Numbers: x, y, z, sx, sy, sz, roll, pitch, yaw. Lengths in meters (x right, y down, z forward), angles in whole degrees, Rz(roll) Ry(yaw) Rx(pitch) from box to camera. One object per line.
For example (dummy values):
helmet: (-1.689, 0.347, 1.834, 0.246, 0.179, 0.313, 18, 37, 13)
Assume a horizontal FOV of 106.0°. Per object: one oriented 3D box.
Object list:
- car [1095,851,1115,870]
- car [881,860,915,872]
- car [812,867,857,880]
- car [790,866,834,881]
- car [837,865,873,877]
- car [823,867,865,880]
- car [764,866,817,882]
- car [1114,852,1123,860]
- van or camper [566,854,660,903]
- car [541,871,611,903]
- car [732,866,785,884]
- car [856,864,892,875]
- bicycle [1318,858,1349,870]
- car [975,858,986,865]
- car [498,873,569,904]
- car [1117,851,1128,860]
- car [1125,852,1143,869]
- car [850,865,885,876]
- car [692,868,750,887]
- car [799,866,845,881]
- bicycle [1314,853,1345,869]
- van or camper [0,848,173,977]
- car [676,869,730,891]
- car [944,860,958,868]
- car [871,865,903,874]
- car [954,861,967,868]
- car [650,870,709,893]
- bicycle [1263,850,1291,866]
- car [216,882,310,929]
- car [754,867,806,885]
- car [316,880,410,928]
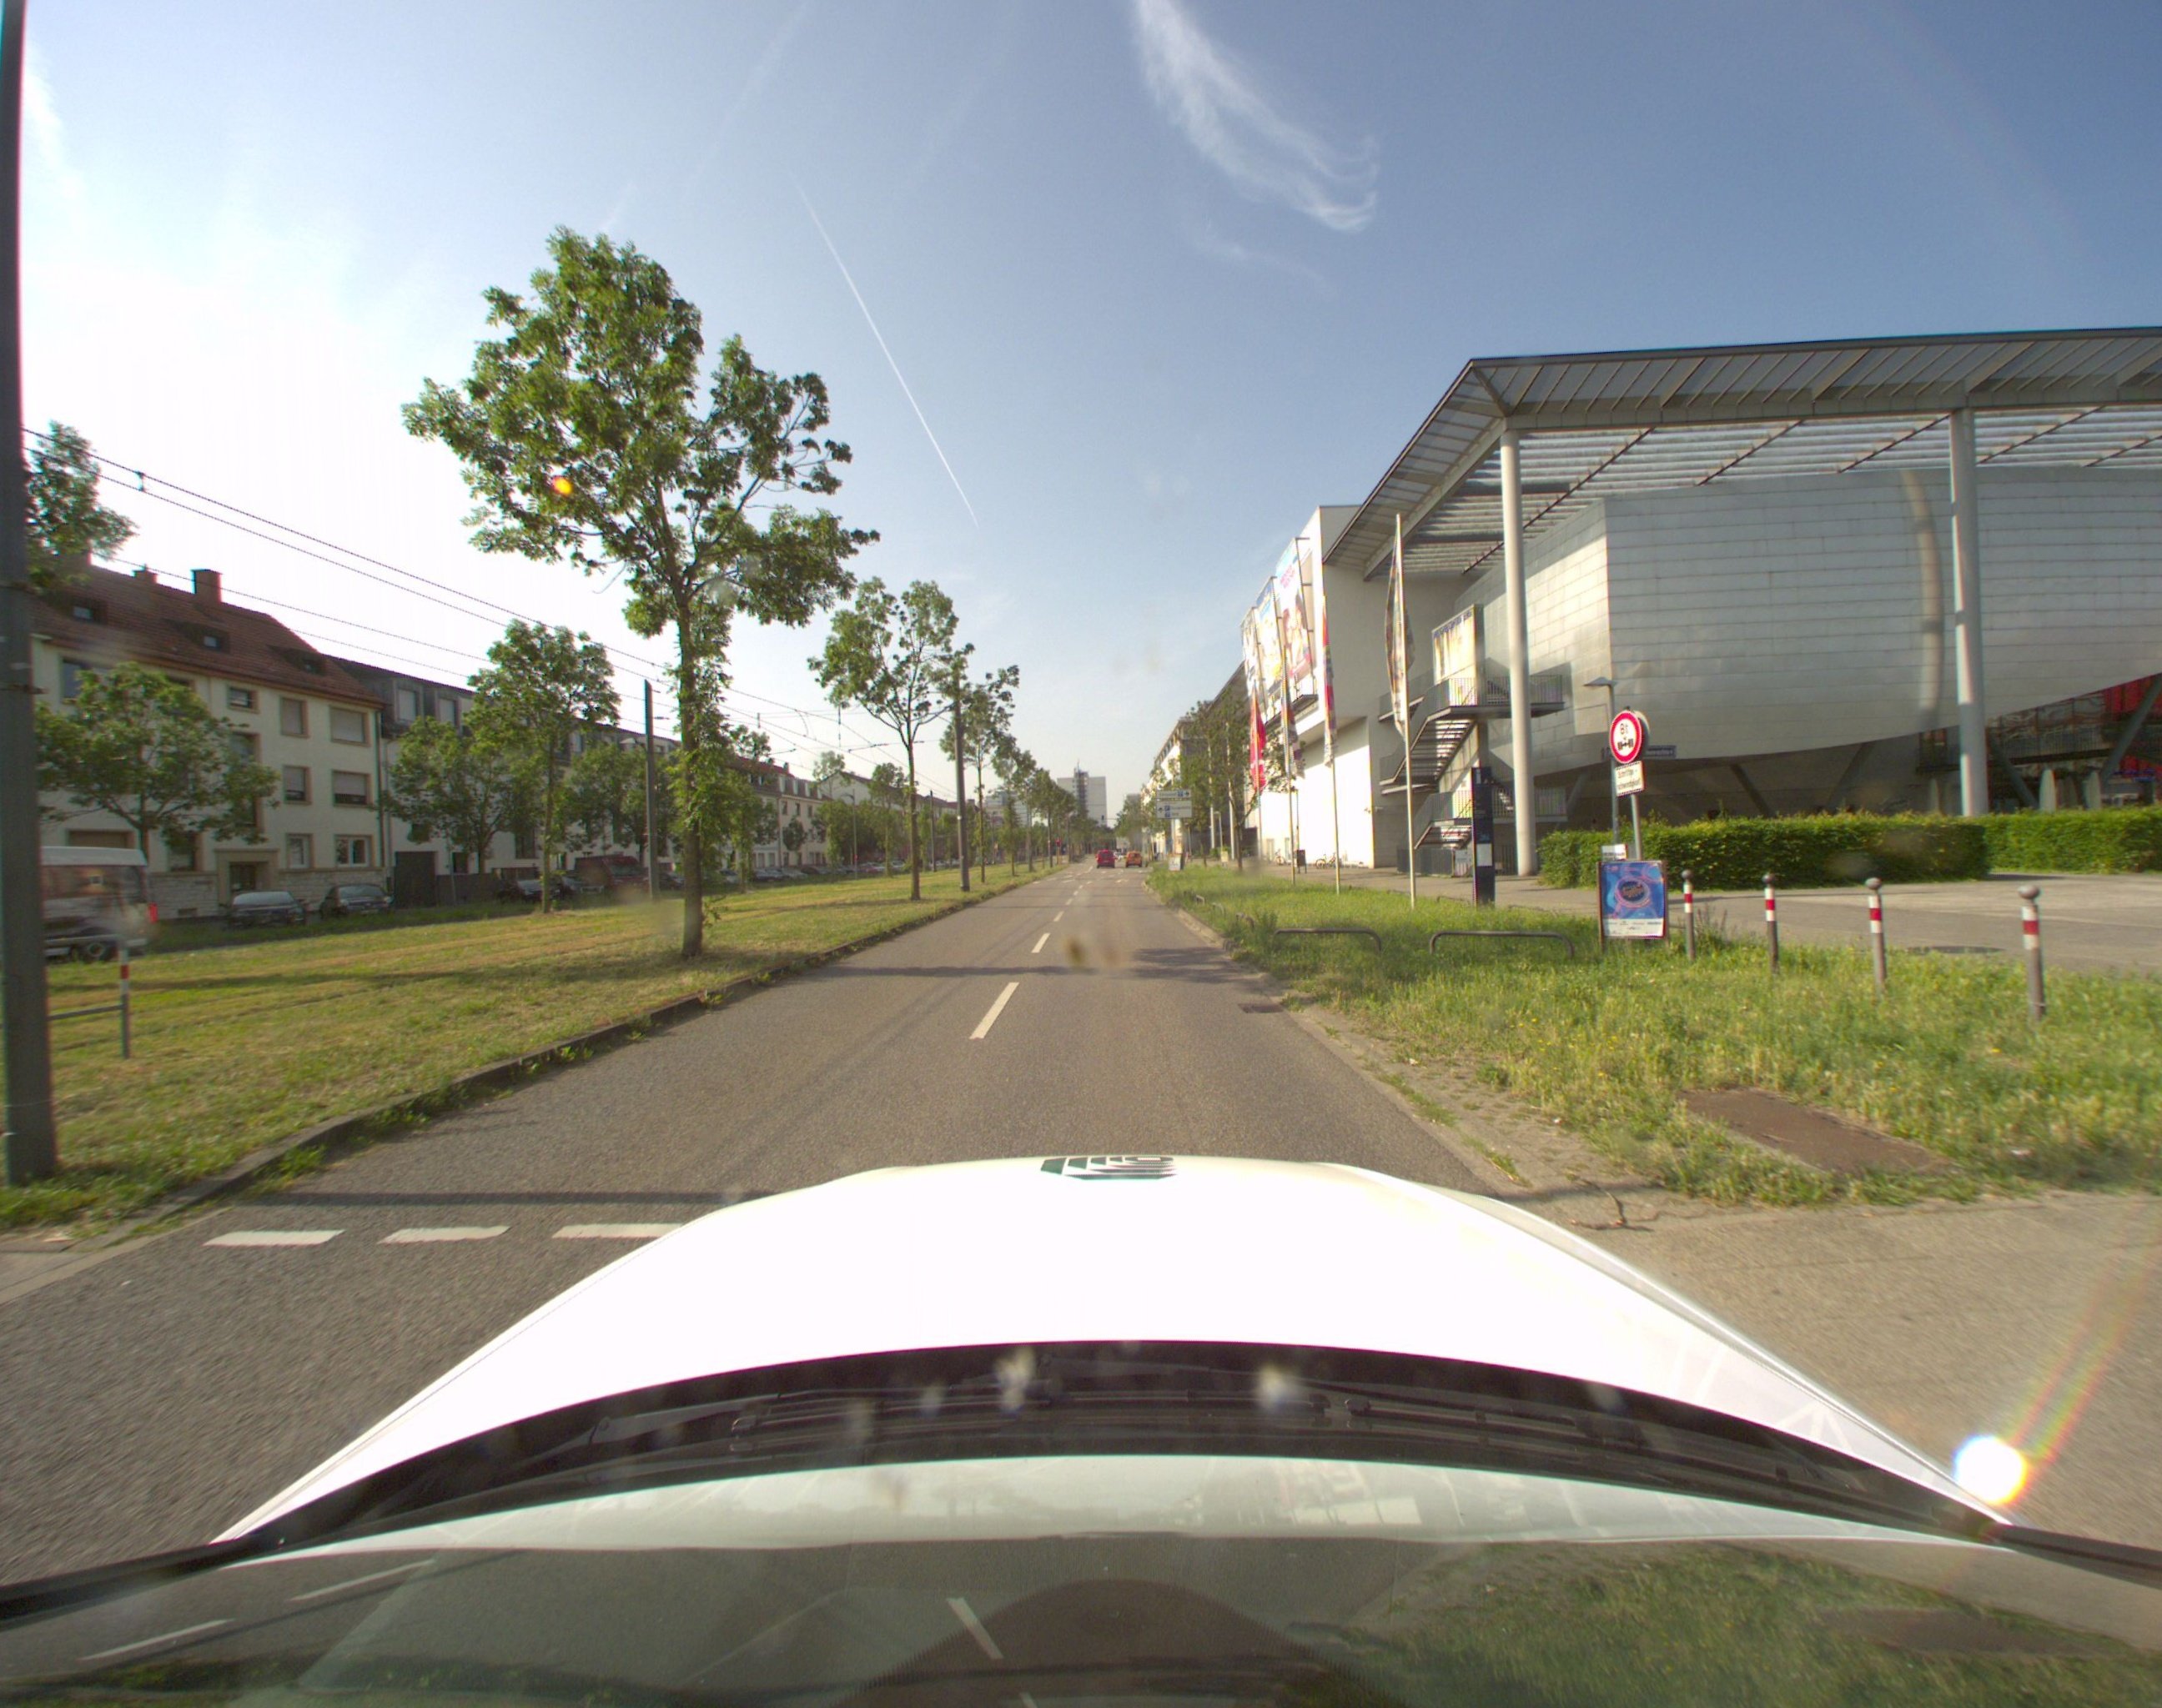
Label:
car: (2.500, 0.699, 85.615, 1.868, 1.853, 3.999, -2, 0, 0)
car: (-24.068, 1.599, 107.131, 4.407, 1.514, 2.013, -2, 0, 37)
car: (-24.788, 1.982, 81.846, 3.950, 1.288, 2.012, -1, -1, 27)
car: (-24.589, 1.791, 74.559, 3.733, 1.376, 1.674, -1, -1, 27)
car: (-25.345, 1.889, 91.246, 3.948, 1.235, 1.710, -1, -1, 34)
car: (-24.662, 1.997, 84.722, 4.008, 1.288, 2.012, -1, -1, 28)
car: (-25.727, 1.741, 72.194, 4.285, 1.376, 2.012, -1, -1, 27)
car: (7.795, 0.427, 168.935, 1.683, 1.526, 3.852, -4, 0, 1)
van or camper: (-26.775, 1.392, 46.478, 6.082, 2.547, 2.429, -2, -1, 37)
car: (-26.950, 1.760, 43.416, 4.100, 1.616, 1.880, -1, -3, 39)
car: (-26.145, 1.710, 65.942, 3.949, 1.376, 1.847, -1, -1, 28)
car: (-24.801, 1.881, 97.665, 3.949, 1.269, 1.898, -1, -1, 31)
bicycle: (14.911, 0.578, 48.158, 1.651, 0.645, 0.538, -2, 0, 1)
car: (-24.275, 1.793, 196.182, 1.974, 1.513, 4.281, 0, -1, 1)
car: (-27.779, 1.749, 41.283, 4.100, 1.510, 1.880, -1, -3, 39)
car: (7.209, 0.259, 142.716, 1.714, 1.519, 3.781, -2, 0, 0)
car: (5.735, 0.719, 88.565, 1.868, 1.696, 3.975, -2, 0, 2)
car: (-24.835, 1.894, 94.677, 3.948, 1.258, 1.888, -1, -1, 34)
car: (-25.903, 1.688, 58.560, 4.342, 1.320, 1.745, -1, 0, 34)
car: (-24.859, 1.839, 78.174, 3.950, 1.288, 2.012, -2, 0, 27)
bicycle: (14.910, 0.435, 48.909, 1.651, 0.915, 0.483, -2, 0, 1)
van or camper: (-21.895, 1.188, 15.558, 2.134, 2.474, 6.059, -4, -1, 1)
car: (-25.586, 1.725, 55.154, 3.673, 1.434, 1.652, -1, -1, 34)
car: (-25.582, 1.970, 160.465, 1.974, 1.556, 4.537, 0, 0, 1)
car: (-24.992, 1.973, 104.843, 3.949, 1.178, 2.012, -1, -1, 42)
car: (-25.155, 2.133, 170.005, 1.974, 1.360, 4.069, 0, 0, 1)
car: (-26.107, 1.761, 52.881, 3.948, 1.420, 1.793, -1, -1, 36)
bicycle: (15.238, 0.309, 63.341, 1.999, 1.102, 0.676, -2, -1, 5)
car: (-27.030, 1.643, 26.878, 3.728, 1.343, 1.784, -1, -1, 39)
car: (-25.159, 1.820, 68.089, 3.949, 1.376, 1.939, -1, -1, 28)
car: (-26.297, 1.771, 29.782, 4.295, 1.530, 2.012, -1, -1, 40)
